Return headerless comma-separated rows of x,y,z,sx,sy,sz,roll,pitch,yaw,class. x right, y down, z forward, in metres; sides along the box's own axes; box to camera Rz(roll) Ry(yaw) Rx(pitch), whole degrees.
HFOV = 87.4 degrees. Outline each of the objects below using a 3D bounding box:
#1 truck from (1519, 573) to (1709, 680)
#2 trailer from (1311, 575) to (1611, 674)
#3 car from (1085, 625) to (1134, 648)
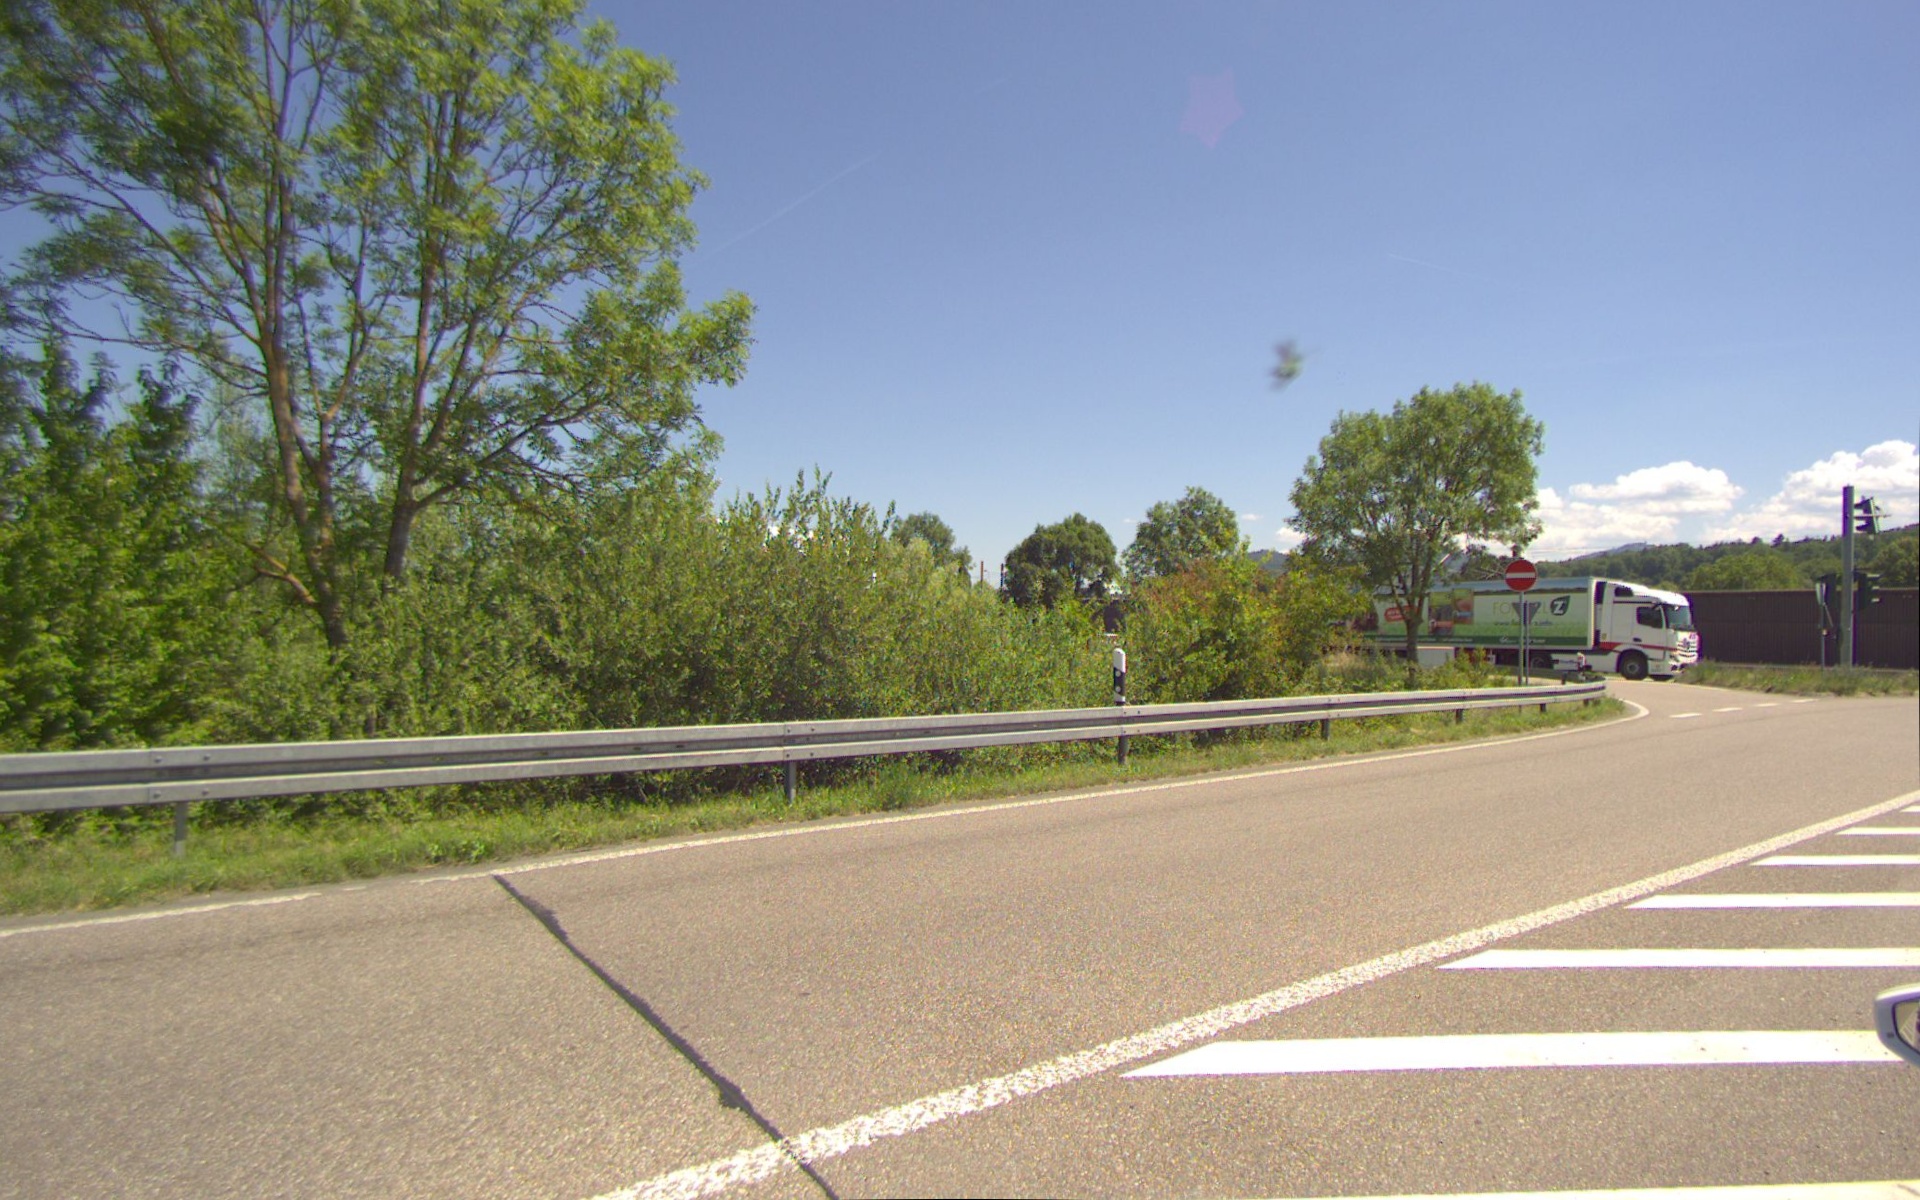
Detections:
26.513,1.039,40.951,3.027,4.007,5.736,2,-1,-31,truck
22.818,1.042,47.184,3.027,4.007,13.074,2,-1,-31,trailer
10.359,2.503,69.671,1.537,1.484,3.455,2,-1,-31,car
